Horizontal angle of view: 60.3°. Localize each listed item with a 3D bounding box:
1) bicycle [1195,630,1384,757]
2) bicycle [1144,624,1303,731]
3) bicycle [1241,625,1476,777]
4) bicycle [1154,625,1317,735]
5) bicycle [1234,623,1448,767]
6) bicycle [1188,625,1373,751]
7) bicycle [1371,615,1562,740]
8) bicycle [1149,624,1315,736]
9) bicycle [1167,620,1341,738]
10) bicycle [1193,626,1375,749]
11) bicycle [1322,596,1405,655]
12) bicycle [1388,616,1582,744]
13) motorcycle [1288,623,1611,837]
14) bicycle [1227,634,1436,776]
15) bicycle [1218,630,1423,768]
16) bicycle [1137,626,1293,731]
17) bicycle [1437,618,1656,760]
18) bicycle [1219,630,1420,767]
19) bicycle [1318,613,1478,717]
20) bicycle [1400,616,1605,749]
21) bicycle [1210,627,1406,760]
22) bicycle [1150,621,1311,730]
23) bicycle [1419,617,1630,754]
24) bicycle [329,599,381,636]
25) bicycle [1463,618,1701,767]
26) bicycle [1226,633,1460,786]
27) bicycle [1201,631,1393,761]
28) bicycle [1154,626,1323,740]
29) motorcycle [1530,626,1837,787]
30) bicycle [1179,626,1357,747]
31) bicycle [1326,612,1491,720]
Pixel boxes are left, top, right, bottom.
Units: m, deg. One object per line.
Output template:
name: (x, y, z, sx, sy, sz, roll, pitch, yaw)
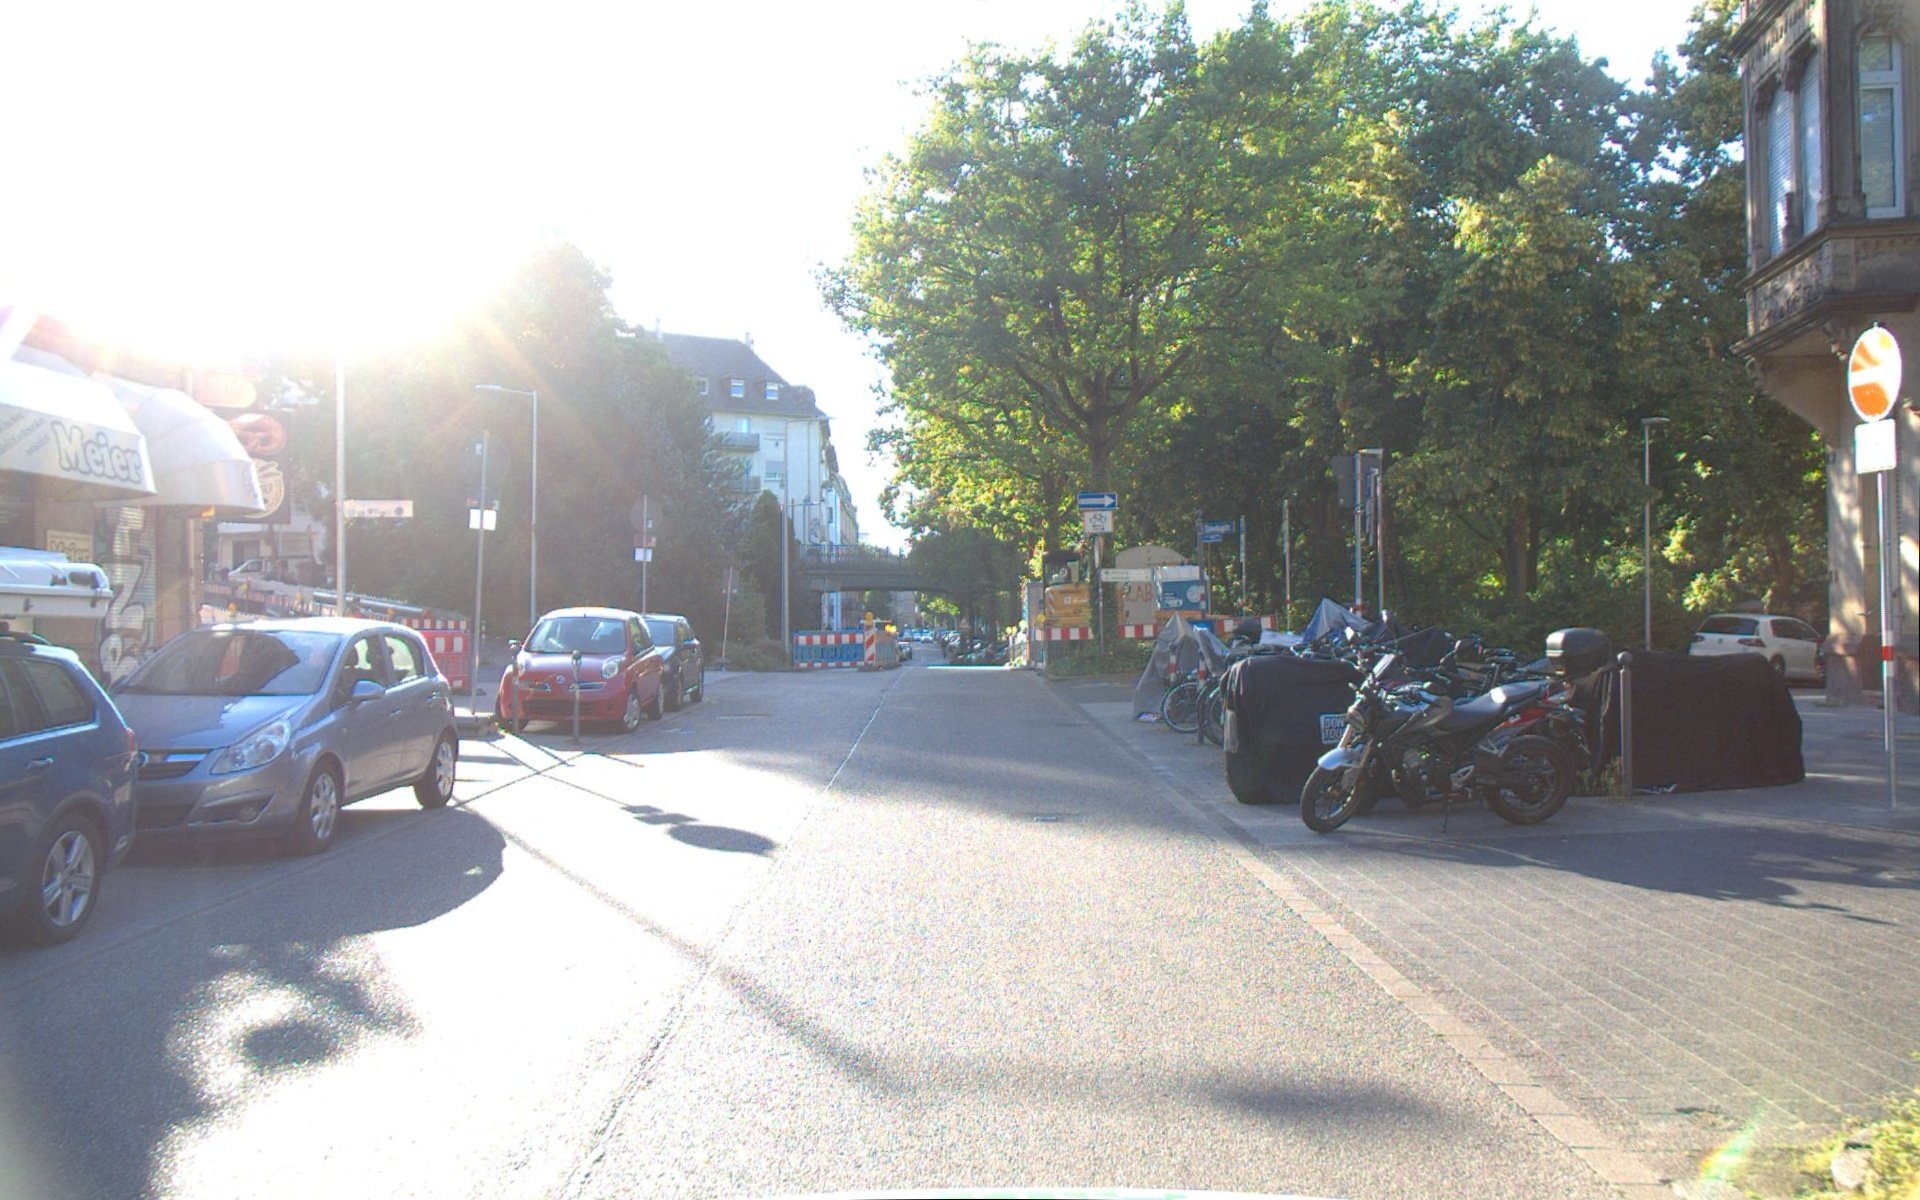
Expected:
bicycle: (3.367, 0.945, 16.905, 1.887, 1.268, 0.302, 0, 0, -7)
bicycle: (3.207, 0.931, 20.144, 1.887, 1.268, 0.302, 0, 0, -7)
bicycle: (3.466, 0.862, 14.450, 1.887, 1.268, 0.647, 0, 0, -7)
bicycle: (3.245, 0.933, 19.486, 1.887, 1.268, 0.302, 0, -1, -7)
bicycle: (3.438, 0.847, 14.949, 1.887, 1.268, 0.302, 0, 0, -7)
bicycle: (3.340, 0.908, 17.242, 1.887, 1.268, 0.302, 0, 0, -7)
bicycle: (5.313, 0.804, 17.386, 1.887, 1.268, 0.479, 0, 0, -7)
bicycle: (3.165, 0.927, 19.246, 1.887, 1.268, 0.302, 0, 0, -7)
bicycle: (3.236, 0.862, 18.212, 1.869, 1.268, 0.302, 0, 0, -7)
bicycle: (3.433, 0.914, 17.531, 1.887, 1.268, 0.302, 0, 0, -7)
bicycle: (9.382, 0.574, 38.544, 1.006, 1.308, 2.140, -2, 0, -13)
bicycle: (5.345, 0.804, 16.854, 1.887, 1.268, 0.395, 0, 0, -7)
motorcycle: (3.261, 0.846, 11.085, 1.975, 1.350, 0.620, -1, 0, -5)
bicycle: (3.425, 0.954, 15.255, 1.887, 1.268, 0.302, 0, 0, -7)
bicycle: (3.398, 0.922, 15.584, 1.887, 1.268, 0.302, 0, 0, -7)
bicycle: (3.159, 0.963, 20.488, 1.887, 1.268, 0.302, 0, 0, -7)
bicycle: (5.416, 0.804, 15.293, 1.887, 1.268, 0.479, 0, 0, -7)
bicycle: (3.449, 0.936, 15.900, 1.887, 1.268, 0.302, 0, 0, -7)
bicycle: (5.439, 0.798, 20.566, 1.887, 1.268, 0.452, 0, 0, -7)
bicycle: (5.350, 0.805, 16.339, 1.887, 1.268, 0.479, 0, 0, -7)
bicycle: (3.412, 0.907, 16.235, 1.887, 1.268, 0.302, 0, 0, -7)
bicycle: (3.238, 0.895, 19.824, 1.887, 1.268, 0.302, 0, 0, -7)
bicycle: (5.387, 0.804, 15.813, 1.887, 1.268, 0.479, 0, 0, -7)
bicycle: (-16.310, 0.461, 44.582, 0.797, 0.985, 2.082, 1, -1, -36)
bicycle: (5.509, 0.803, 14.697, 1.887, 1.268, 0.647, 0, 0, -7)
bicycle: (3.155, 0.895, 13.678, 1.781, 1.147, 0.443, -3, 0, -2)
bicycle: (3.371, 0.950, 16.558, 1.887, 1.268, 0.302, 0, 0, -7)
bicycle: (3.177, 0.935, 18.901, 1.887, 1.268, 0.302, 0, 0, -7)
motorcycle: (5.623, 0.811, 12.937, 1.982, 1.128, 0.903, -2, 0, -2)
bicycle: (3.328, 0.927, 17.883, 1.887, 1.268, 0.302, 0, 0, -7)
bicycle: (5.433, 0.792, 20.053, 1.887, 1.268, 0.479, 0, 0, -7)
